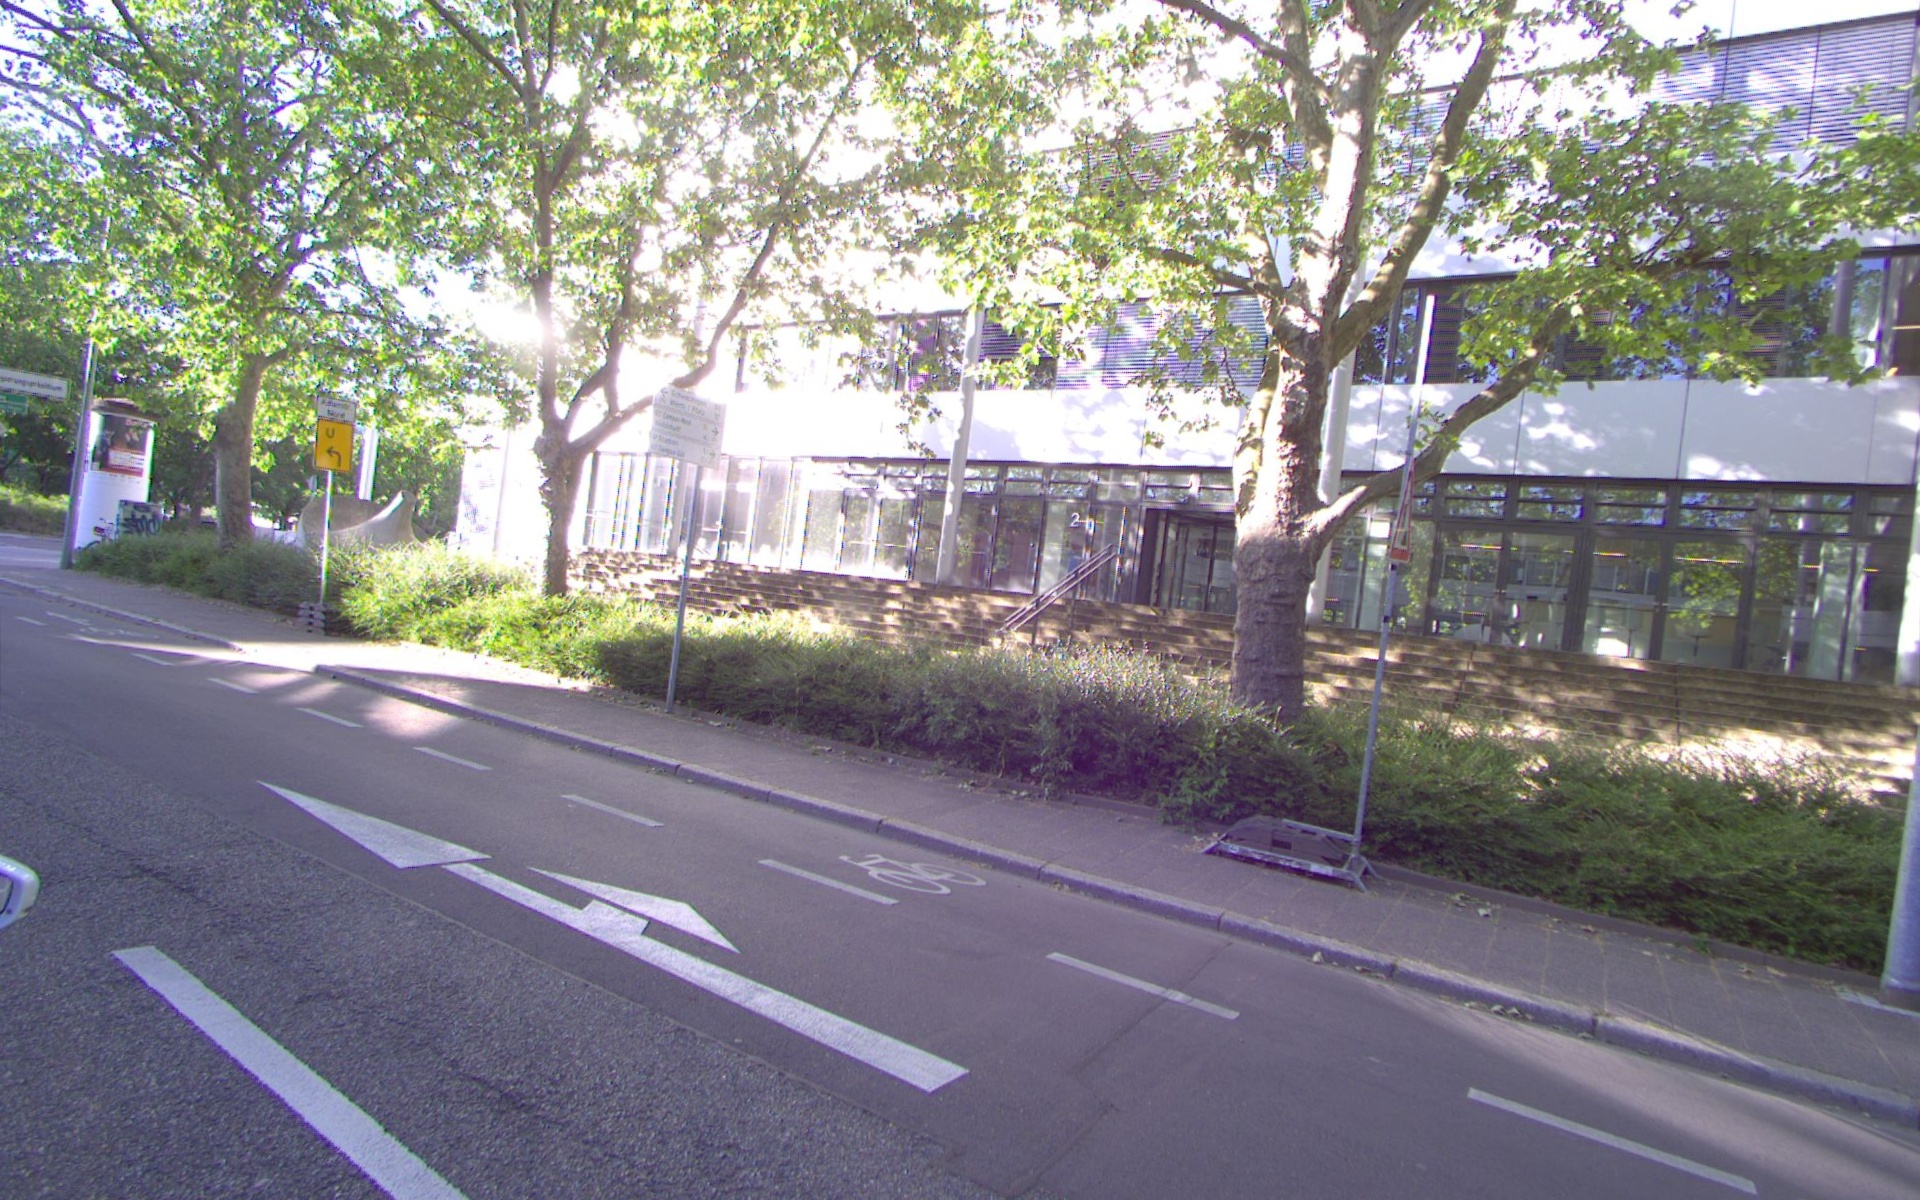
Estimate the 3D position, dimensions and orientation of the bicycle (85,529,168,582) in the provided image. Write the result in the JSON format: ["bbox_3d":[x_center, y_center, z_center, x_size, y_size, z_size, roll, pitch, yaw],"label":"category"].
[{"bbox_3d":[-19.218,-1.015,23.227,0.357,1.036,1.354,7,-1,33],"label":"bicycle"}]
